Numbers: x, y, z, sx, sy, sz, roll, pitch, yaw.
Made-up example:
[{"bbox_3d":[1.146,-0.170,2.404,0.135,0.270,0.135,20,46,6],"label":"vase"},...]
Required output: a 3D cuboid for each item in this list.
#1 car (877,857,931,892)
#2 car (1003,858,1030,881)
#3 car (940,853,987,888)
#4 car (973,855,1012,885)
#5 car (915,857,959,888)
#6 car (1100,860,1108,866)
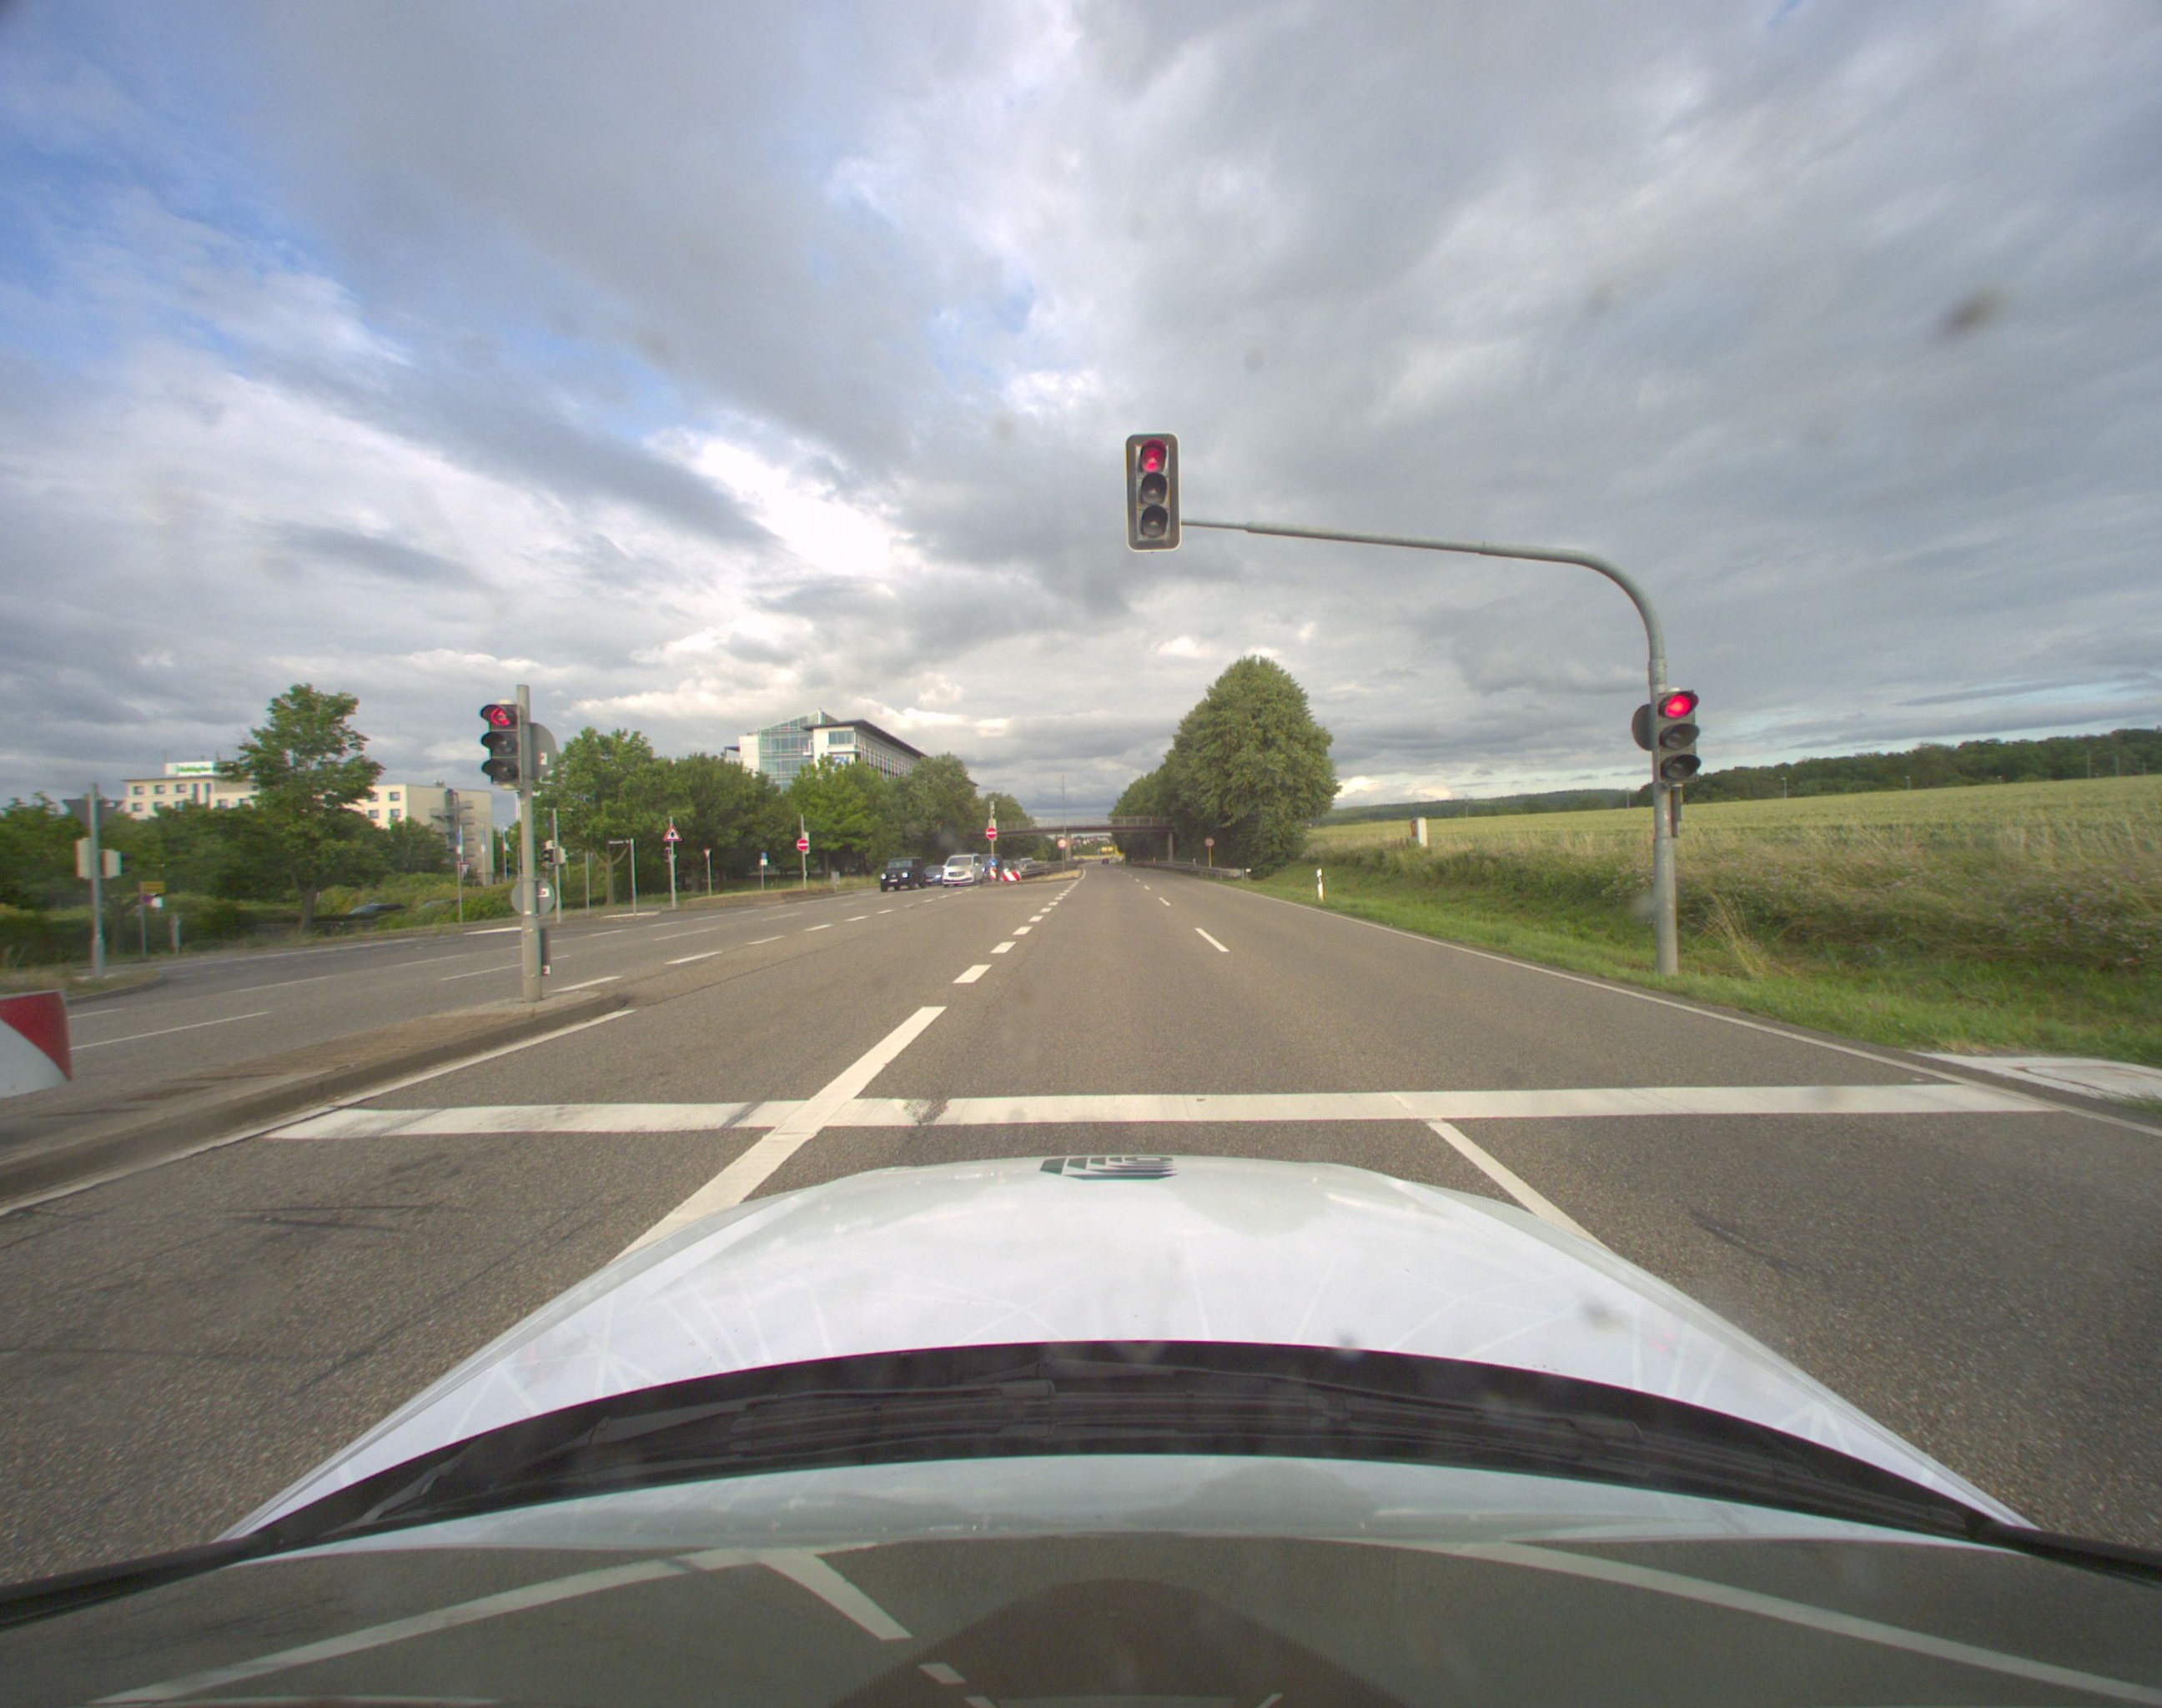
[{"bbox_3d":[-10.721,1.194,49.648,2.076,2.014,5.216,0,-1,1],"label":"car"},{"bbox_3d":[-5.997,1.412,75.944,2.076,2.014,5.216,0,-1,1],"label":"car"},{"bbox_3d":[-7.101,0.971,49.674,2.076,2.014,5.216,0,-1,1],"label":"car"},{"bbox_3d":[-6.183,1.079,57.393,2.076,2.014,5.216,0,-1,1],"label":"car"},{"bbox_3d":[-10.024,1.259,57.137,2.076,2.014,5.216,0,-1,1],"label":"car"},{"bbox_3d":[6.248,2.366,219.242,1.875,1.552,3.997,0,-1,-2],"label":"car"}]
